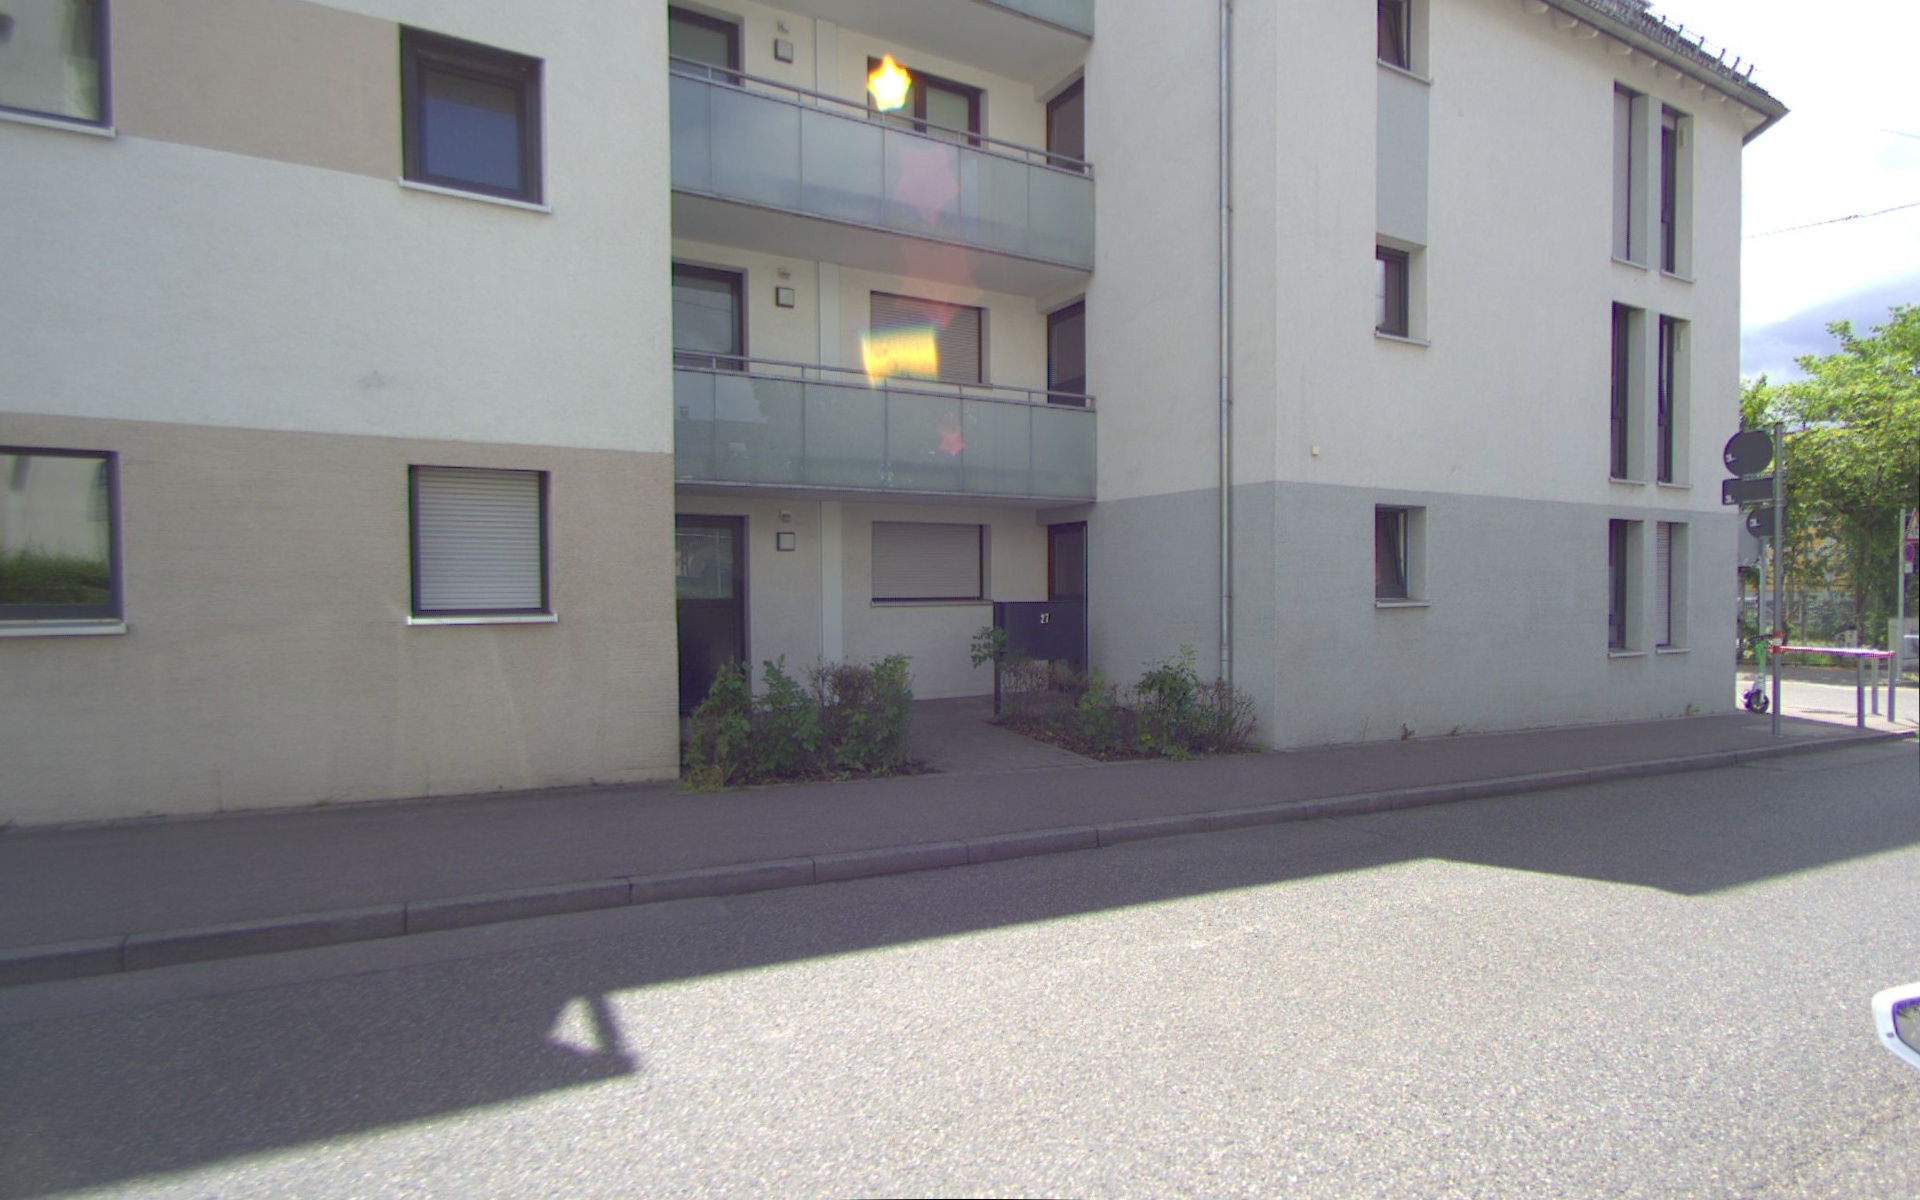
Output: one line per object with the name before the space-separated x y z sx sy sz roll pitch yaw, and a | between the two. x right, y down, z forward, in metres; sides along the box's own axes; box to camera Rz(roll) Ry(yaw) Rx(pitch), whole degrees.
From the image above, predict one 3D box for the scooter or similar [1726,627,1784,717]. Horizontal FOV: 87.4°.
scooter or similar | 11.989 1.052 15.173 0.482 1.278 1.305 0 -1 29
